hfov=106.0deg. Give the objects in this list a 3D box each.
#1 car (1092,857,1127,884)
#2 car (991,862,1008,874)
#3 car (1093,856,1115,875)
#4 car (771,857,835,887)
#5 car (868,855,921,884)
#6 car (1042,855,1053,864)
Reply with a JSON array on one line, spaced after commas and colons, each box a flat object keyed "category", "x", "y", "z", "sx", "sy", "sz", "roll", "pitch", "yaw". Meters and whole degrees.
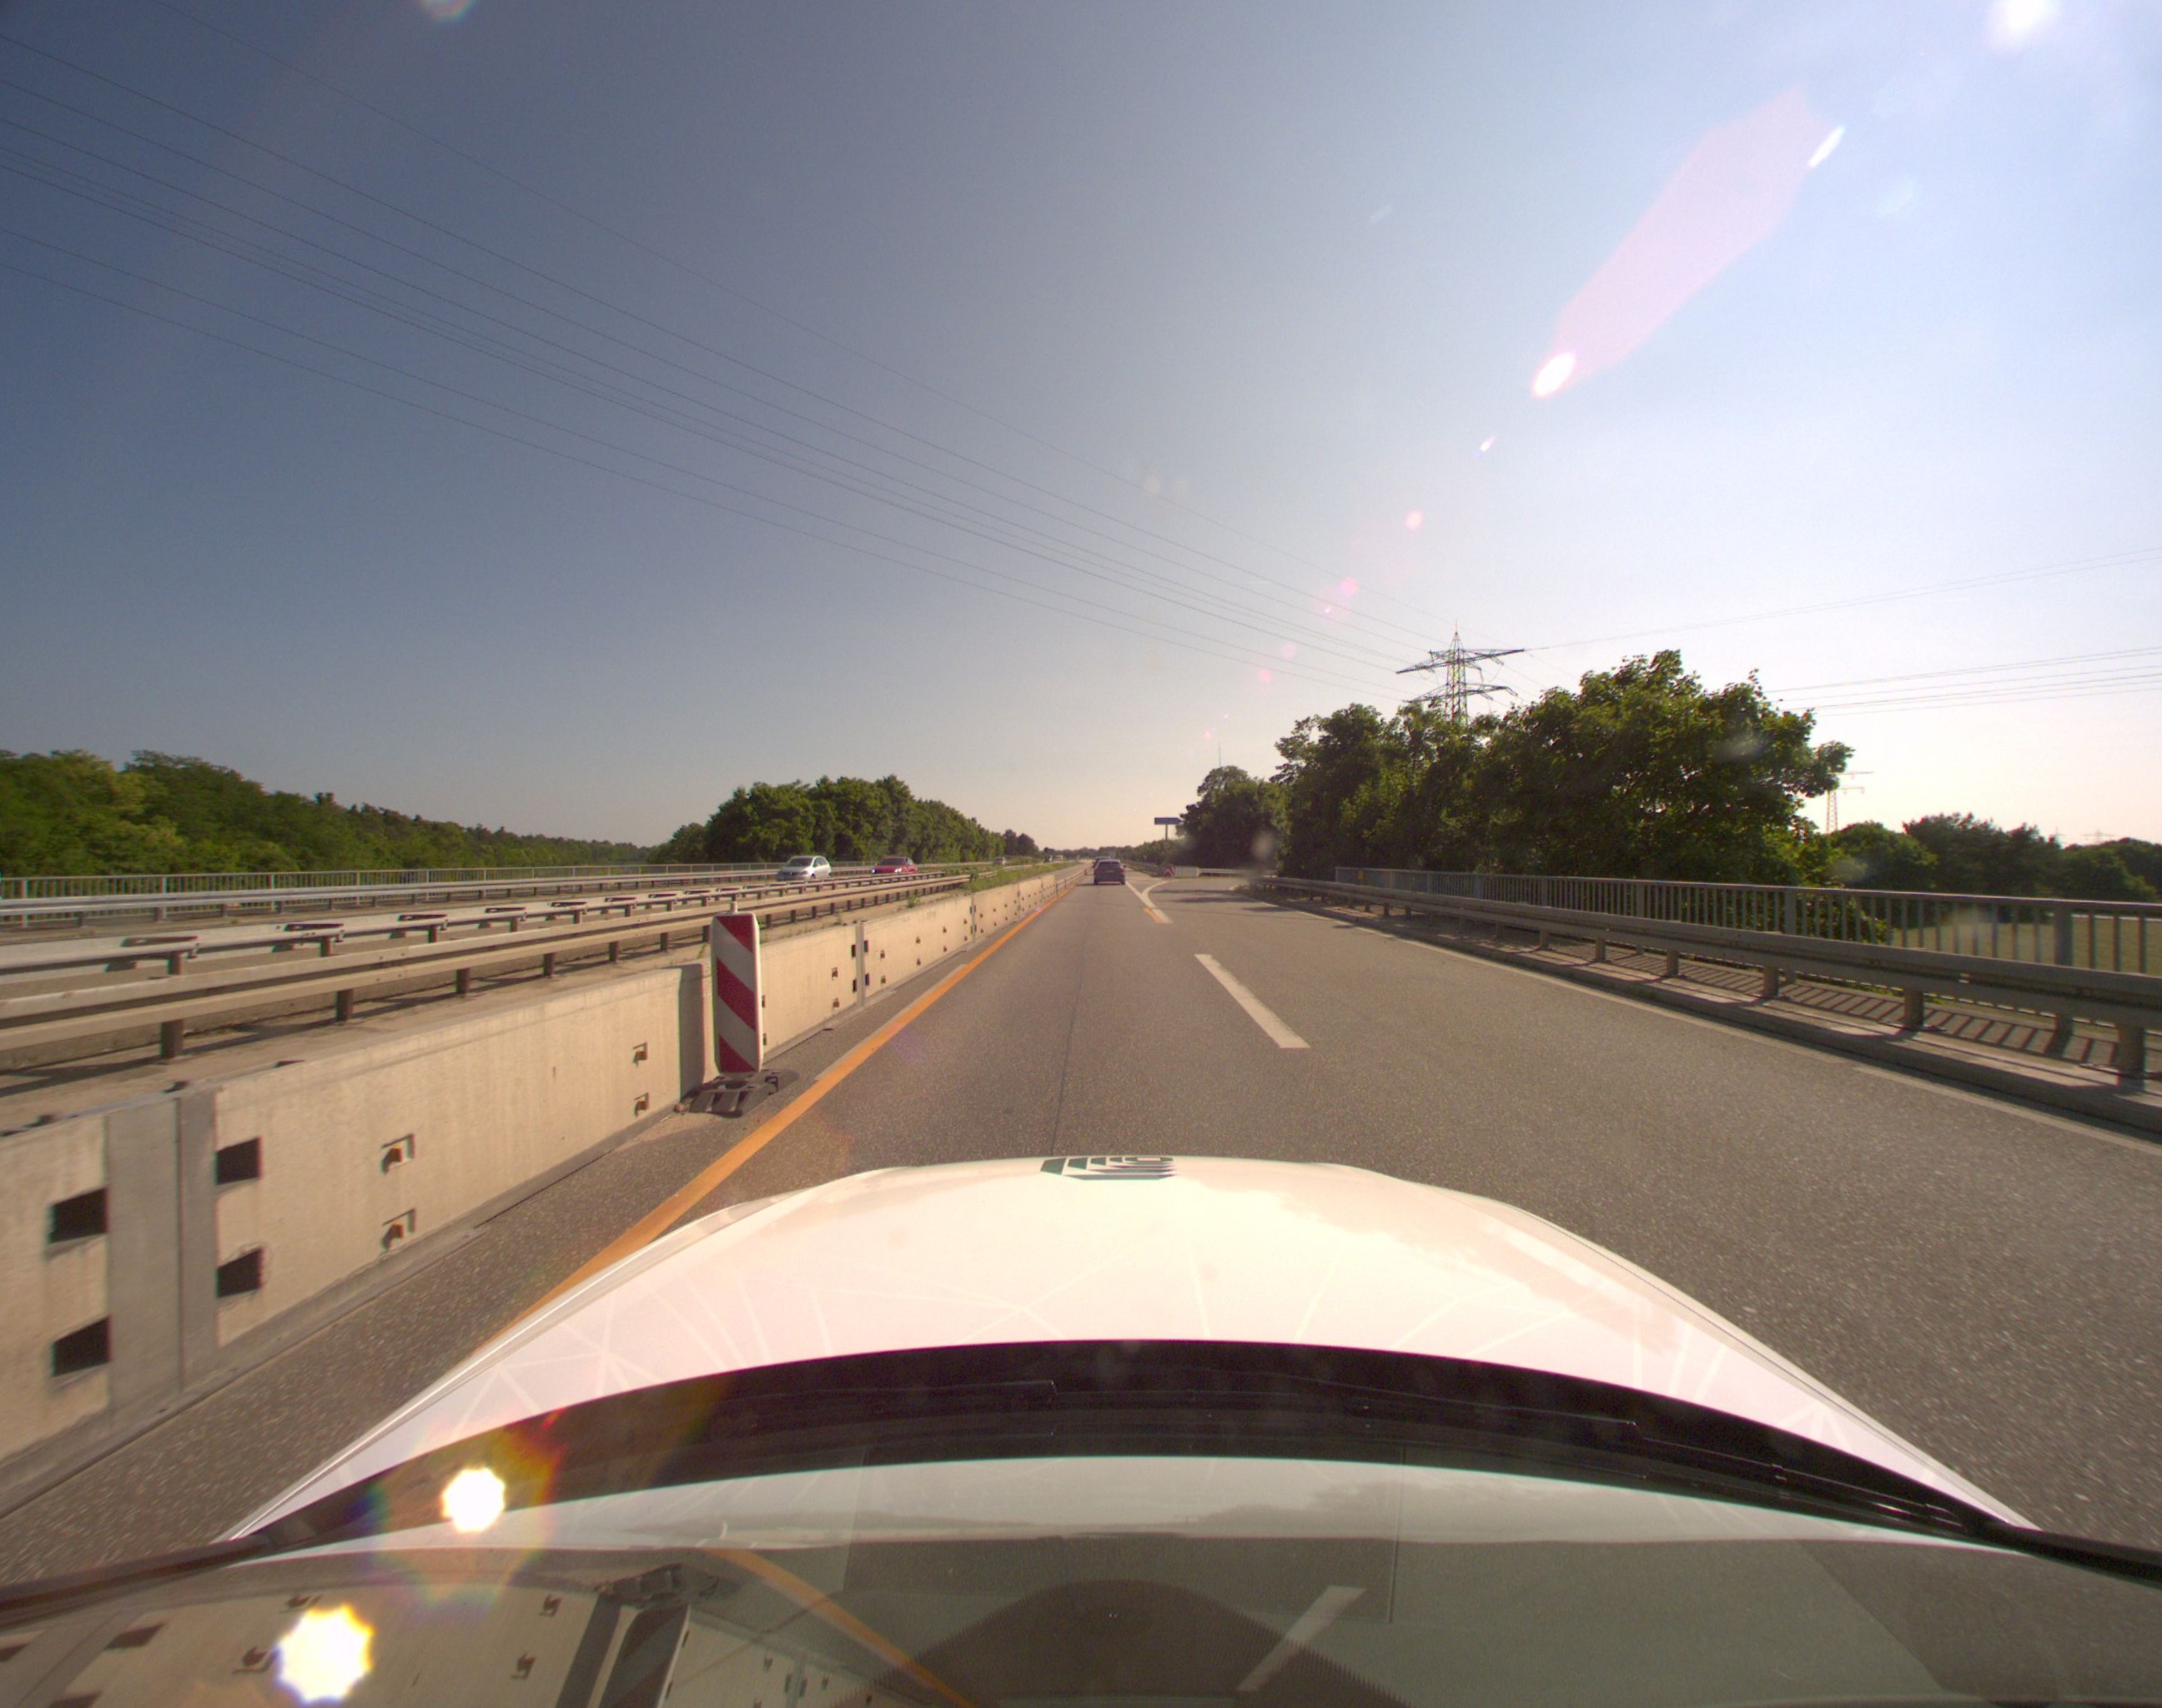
[{"category": "car", "x": 1.620, "y": 0.924, "z": 47.131, "sx": 1.914, "sy": 1.494, "sz": 4.000, "roll": 0, "pitch": 0, "yaw": 0}, {"category": "car", "x": -11.733, "y": 1.971, "z": 117.767, "sx": 1.756, "sy": 1.583, "sz": 4.424, "roll": -1, "pitch": -1, "yaw": 2}, {"category": "car", "x": 2.099, "y": 1.018, "z": 73.877, "sx": 1.986, "sy": 1.567, "sz": 4.002, "roll": -1, "pitch": 0, "yaw": 2}, {"category": "car", "x": -14.201, "y": 0.893, "z": 41.817, "sx": 1.771, "sy": 1.393, "sz": 4.127, "roll": -2, "pitch": 0, "yaw": 1}, {"category": "car", "x": -9.642, "y": 0.773, "z": 42.329, "sx": 1.708, "sy": 1.397, "sz": 4.221, "roll": 0, "pitch": 0, "yaw": 1}, {"category": "car", "x": -7.624, "y": 1.281, "z": 186.222, "sx": 1.986, "sy": 2.034, "sz": 5.170, "roll": -1, "pitch": 0, "yaw": 2}]
